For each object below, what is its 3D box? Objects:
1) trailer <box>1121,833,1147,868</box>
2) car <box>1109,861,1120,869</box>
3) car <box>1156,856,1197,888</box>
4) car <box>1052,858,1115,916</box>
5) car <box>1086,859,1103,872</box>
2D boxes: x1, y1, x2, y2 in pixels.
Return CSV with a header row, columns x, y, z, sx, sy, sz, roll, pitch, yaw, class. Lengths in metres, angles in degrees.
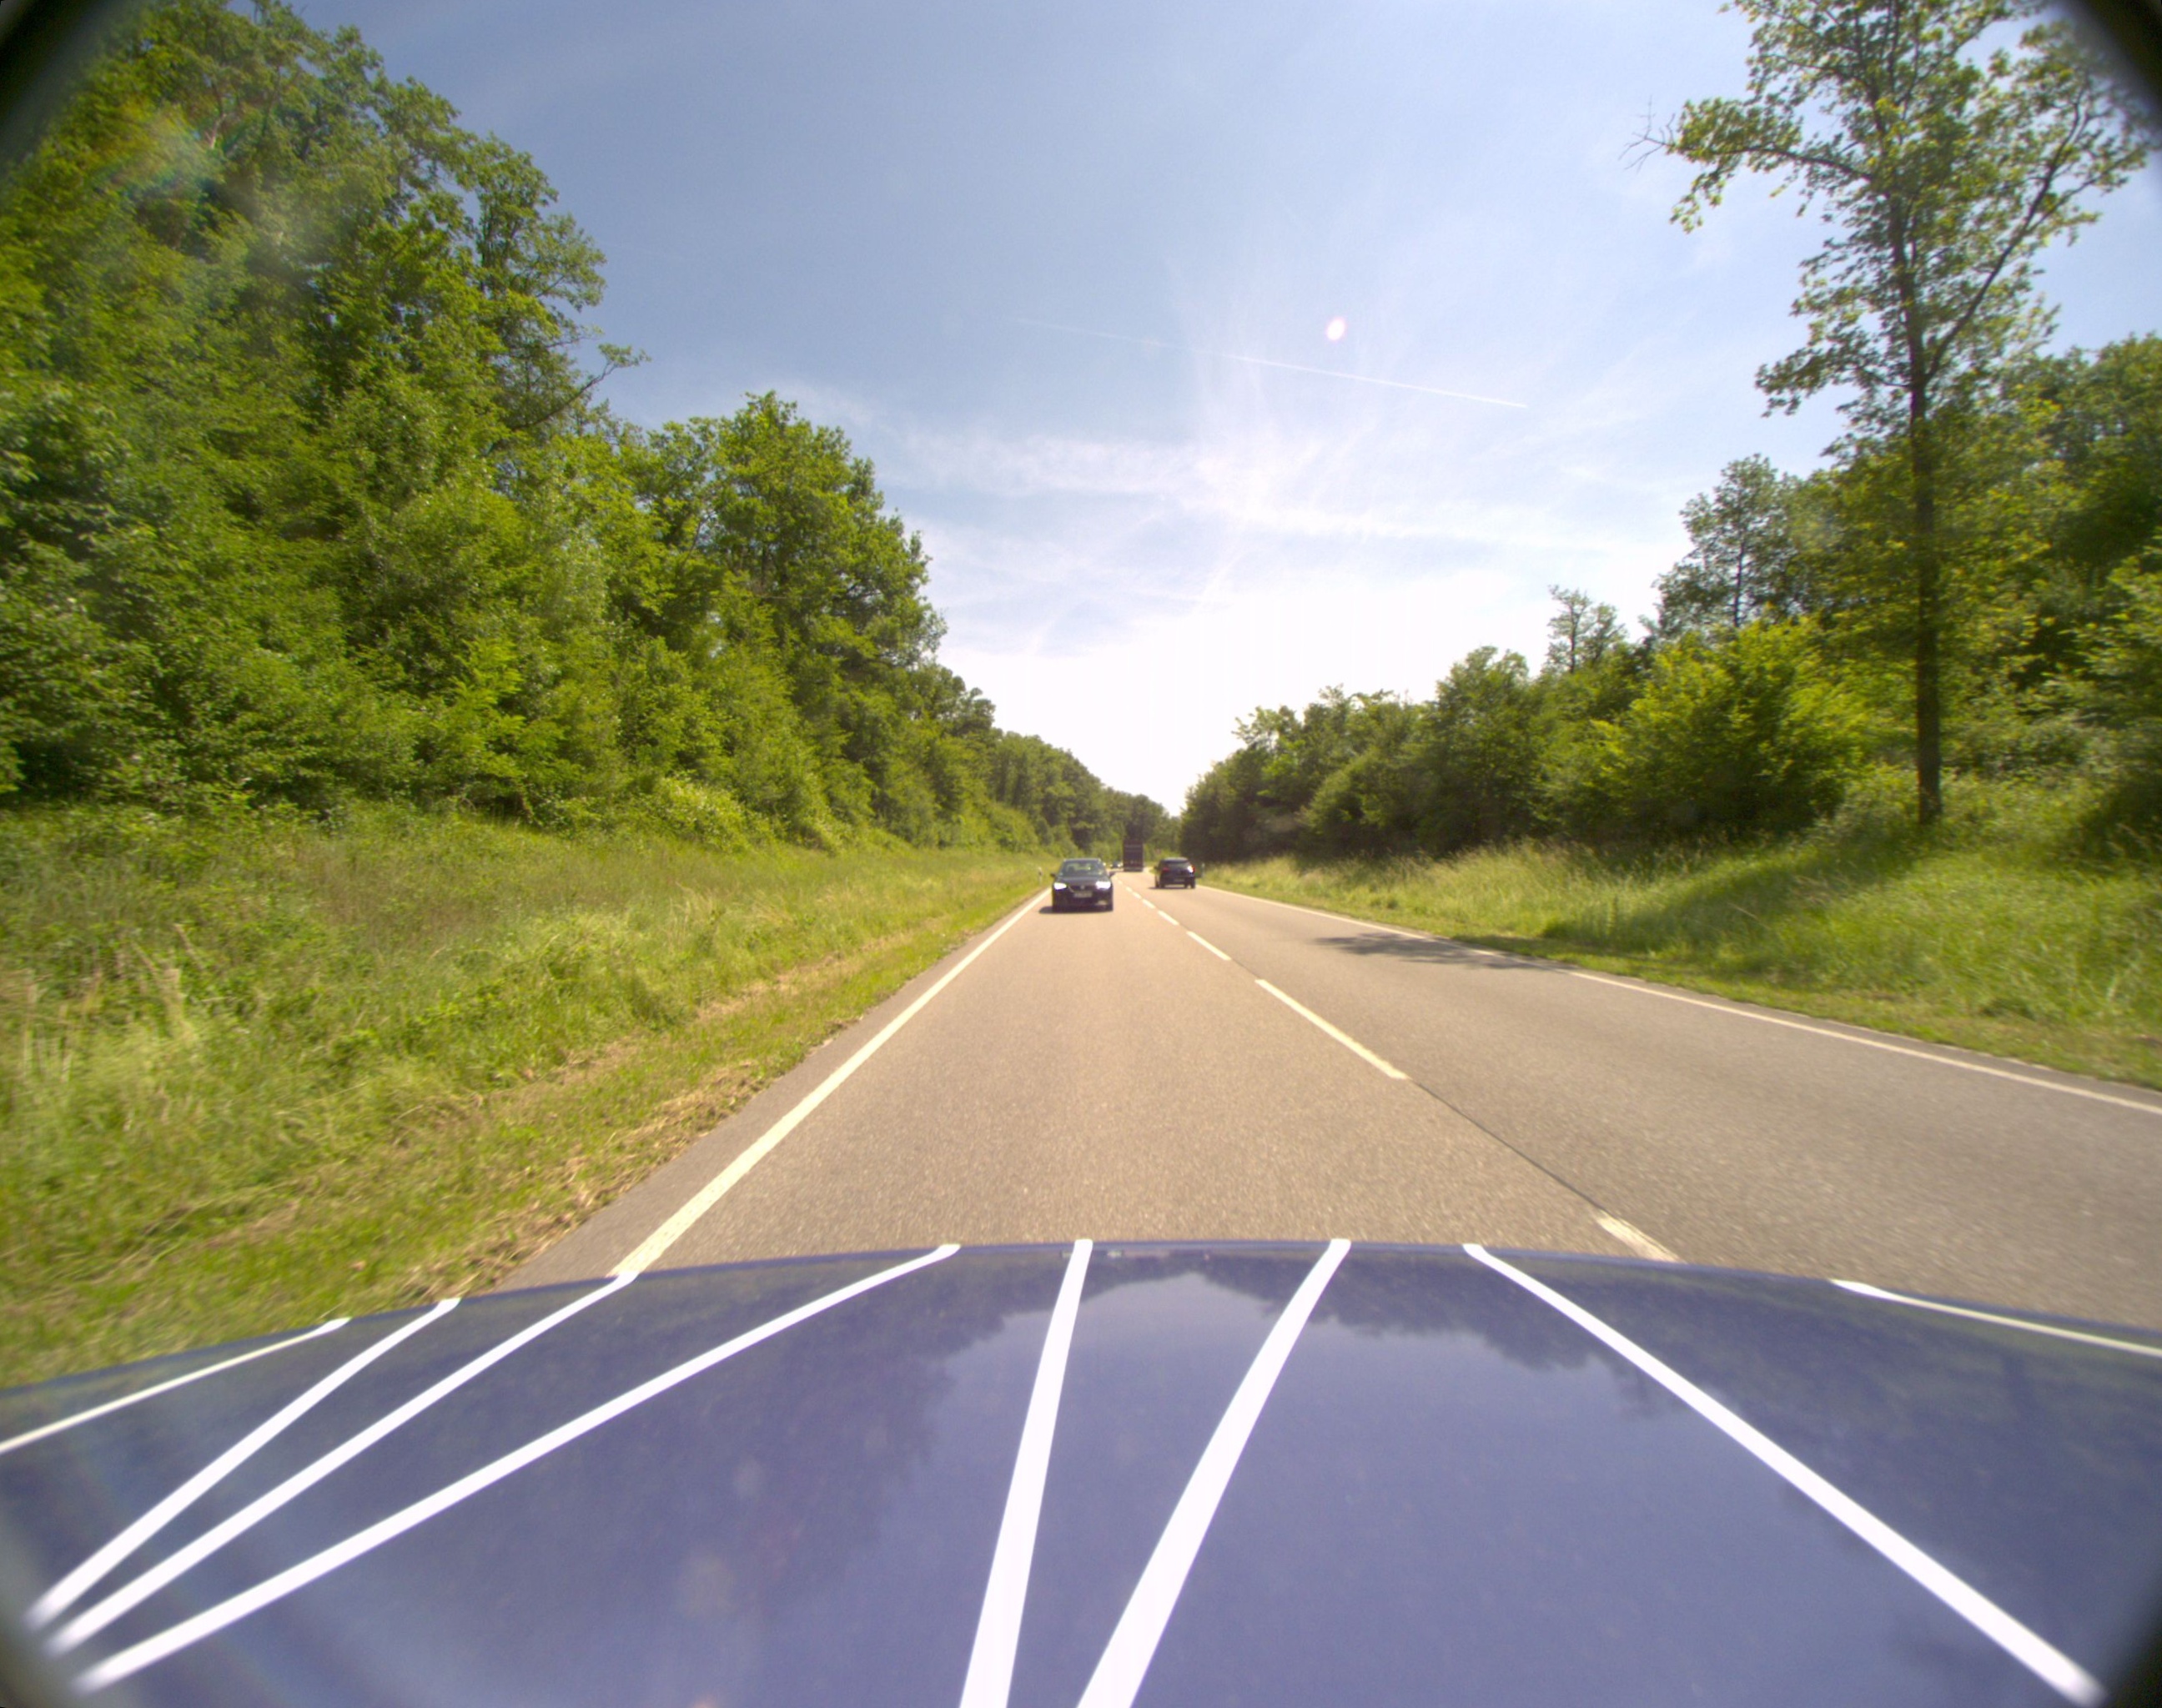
x,y,z,sx,sy,sz,roll,pitch,yaw,class
6.876,-0.499,100.594,2.949,4.228,13.619,0,1,2,trailer
5.816,1.893,132.677,1.775,1.454,4.002,0,0,5,car
4.696,0.846,37.787,1.664,1.486,3.806,0,0,2,car
0.119,0.916,23.050,1.713,1.516,4.242,-1,0,1,car
1.532,1.286,85.074,1.776,1.454,3.949,0,0,2,car
